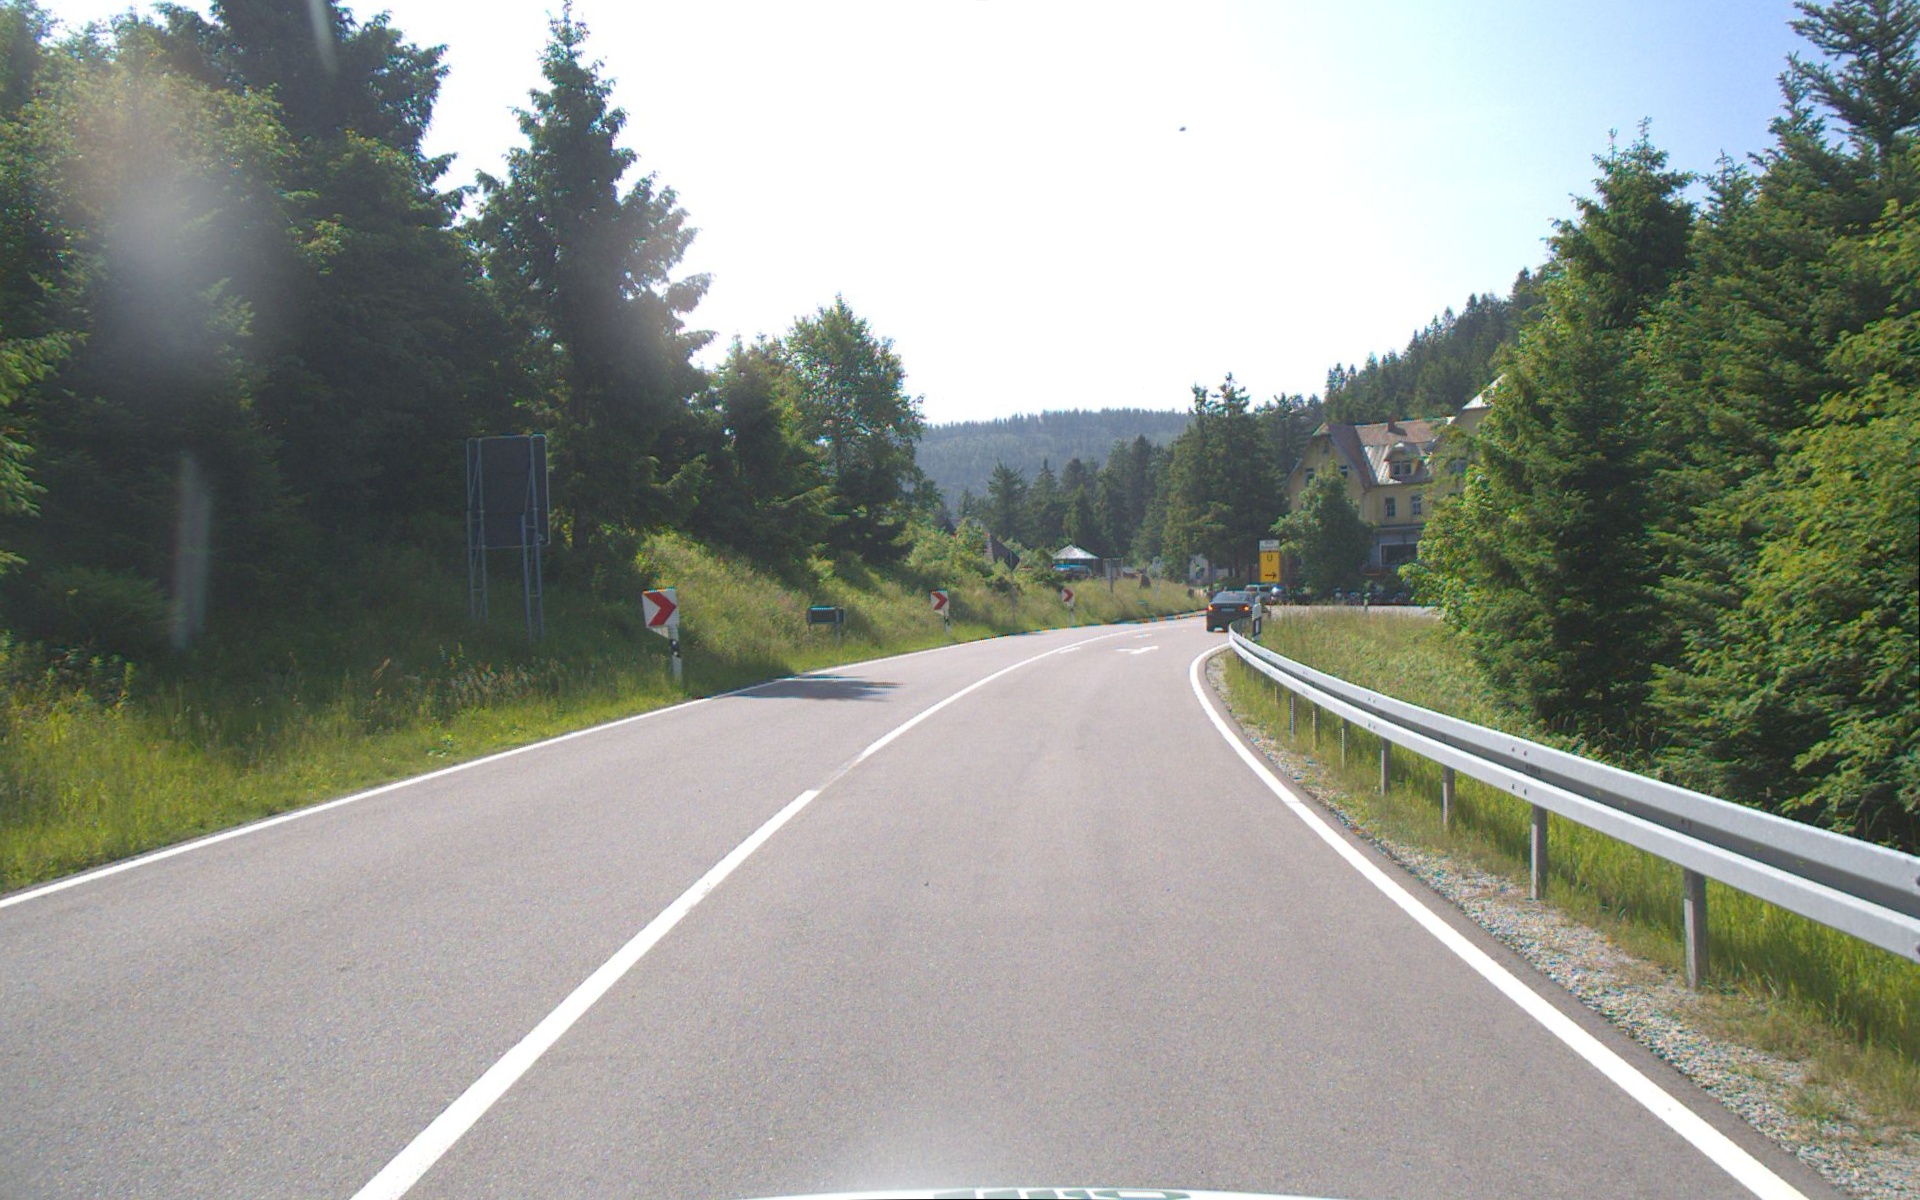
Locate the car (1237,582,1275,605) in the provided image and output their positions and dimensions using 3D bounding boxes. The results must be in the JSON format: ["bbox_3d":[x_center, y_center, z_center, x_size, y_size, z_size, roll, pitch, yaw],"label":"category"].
[{"bbox_3d":[23.963,-0.532,133.765,1.818,1.700,4.379,-2,0,28],"label":"car"}]

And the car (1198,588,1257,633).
[{"bbox_3d":[9.581,0.354,59.074,1.738,1.467,3.712,-1,1,14],"label":"car"}]

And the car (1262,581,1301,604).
[{"bbox_3d":[25.682,-0.581,131.971,1.852,1.677,4.289,-2,0,28],"label":"car"}]
